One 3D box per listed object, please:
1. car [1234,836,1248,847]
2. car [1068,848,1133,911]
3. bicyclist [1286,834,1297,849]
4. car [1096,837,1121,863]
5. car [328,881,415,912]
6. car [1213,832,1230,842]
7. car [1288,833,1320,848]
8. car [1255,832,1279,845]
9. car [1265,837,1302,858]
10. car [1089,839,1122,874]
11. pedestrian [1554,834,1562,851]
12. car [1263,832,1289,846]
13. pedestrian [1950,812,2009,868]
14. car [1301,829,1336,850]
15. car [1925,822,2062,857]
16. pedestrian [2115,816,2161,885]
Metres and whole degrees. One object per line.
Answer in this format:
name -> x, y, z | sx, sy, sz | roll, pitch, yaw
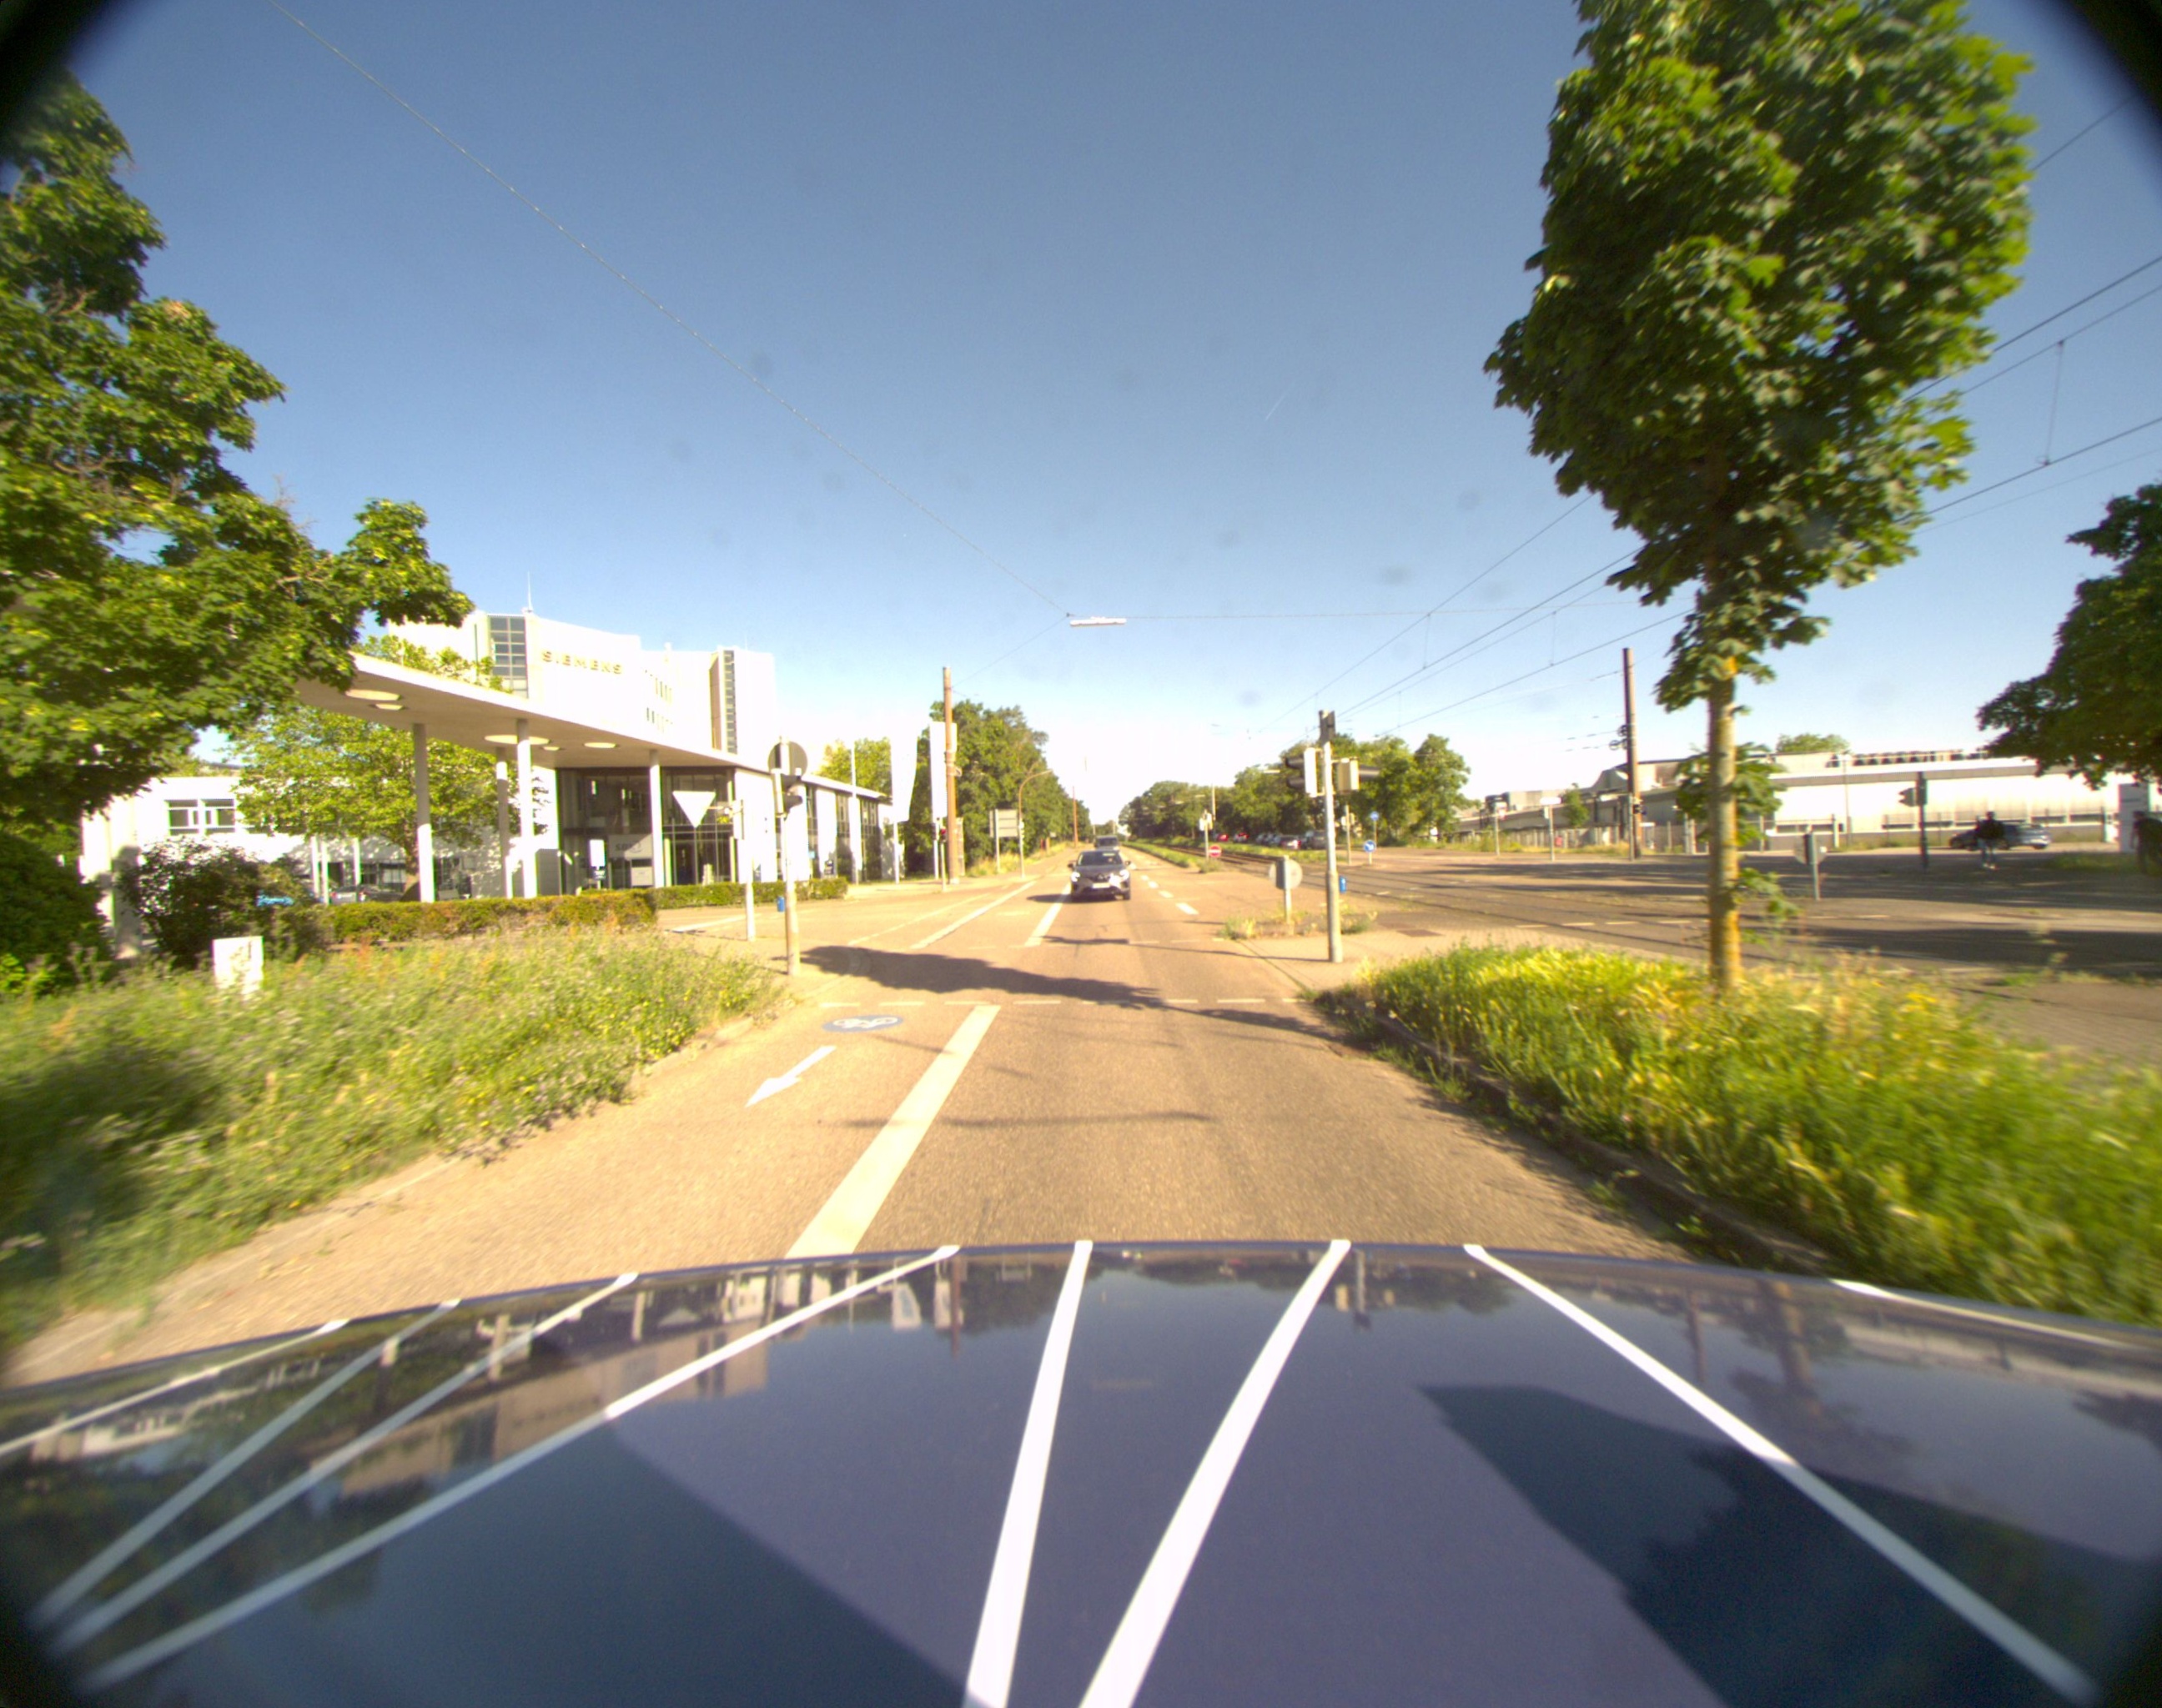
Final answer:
car -> 24.720, -1.980, 117.314 | 1.858, 1.549, 4.159 | -3, 1, 10
car -> 0.579, 0.727, 24.362 | 1.796, 1.584, 4.529 | -4, 2, 0
bicyclist -> 22.254, -1.345, 80.255 | 0.804, 1.584, 1.236 | -3, 2, 3
car -> 2.480, -0.371, 69.023 | 1.998, 2.199, 4.786 | -2, 1, 0
car -> -39.882, 2.374, 42.847 | 1.779, 1.436, 3.995 | -2, 1, -14
car -> 24.852, -3.040, 134.601 | 2.320, 1.723, 4.797 | -3, 1, 4
car -> 24.023, -1.461, 82.101 | 2.130, 1.372, 4.615 | -3, 1, 1
car -> 24.524, -2.087, 100.556 | 2.130, 1.555, 4.560 | -3, 1, 2
car -> 18.304, -0.554, 68.786 | 2.099, 1.799, 4.792 | 0, 0, 0
car -> 1.668, 0.125, 50.844 | 1.998, 2.113, 4.000 | -3, 1, 2
pedestrian -> 37.215, -0.921, 59.274 | 0.442, 1.293, 0.440 | -3, 2, -40
car -> 24.093, -1.907, 93.986 | 2.130, 1.578, 4.616 | -3, 1, 2
pedestrian -> 29.250, -0.452, 24.751 | 0.952, 1.777, 0.821 | -2, 1, 16
car -> 23.505, -1.470, 75.300 | 2.206, 1.923, 4.685 | -3, 1, 3
car -> 50.688, -0.827, 42.432 | 2.169, 1.739, 5.297 | -3, 1, 14
pedestrian -> 27.189, -0.091, 19.313 | 0.759, 1.724, 0.939 | -1, 1, 31
